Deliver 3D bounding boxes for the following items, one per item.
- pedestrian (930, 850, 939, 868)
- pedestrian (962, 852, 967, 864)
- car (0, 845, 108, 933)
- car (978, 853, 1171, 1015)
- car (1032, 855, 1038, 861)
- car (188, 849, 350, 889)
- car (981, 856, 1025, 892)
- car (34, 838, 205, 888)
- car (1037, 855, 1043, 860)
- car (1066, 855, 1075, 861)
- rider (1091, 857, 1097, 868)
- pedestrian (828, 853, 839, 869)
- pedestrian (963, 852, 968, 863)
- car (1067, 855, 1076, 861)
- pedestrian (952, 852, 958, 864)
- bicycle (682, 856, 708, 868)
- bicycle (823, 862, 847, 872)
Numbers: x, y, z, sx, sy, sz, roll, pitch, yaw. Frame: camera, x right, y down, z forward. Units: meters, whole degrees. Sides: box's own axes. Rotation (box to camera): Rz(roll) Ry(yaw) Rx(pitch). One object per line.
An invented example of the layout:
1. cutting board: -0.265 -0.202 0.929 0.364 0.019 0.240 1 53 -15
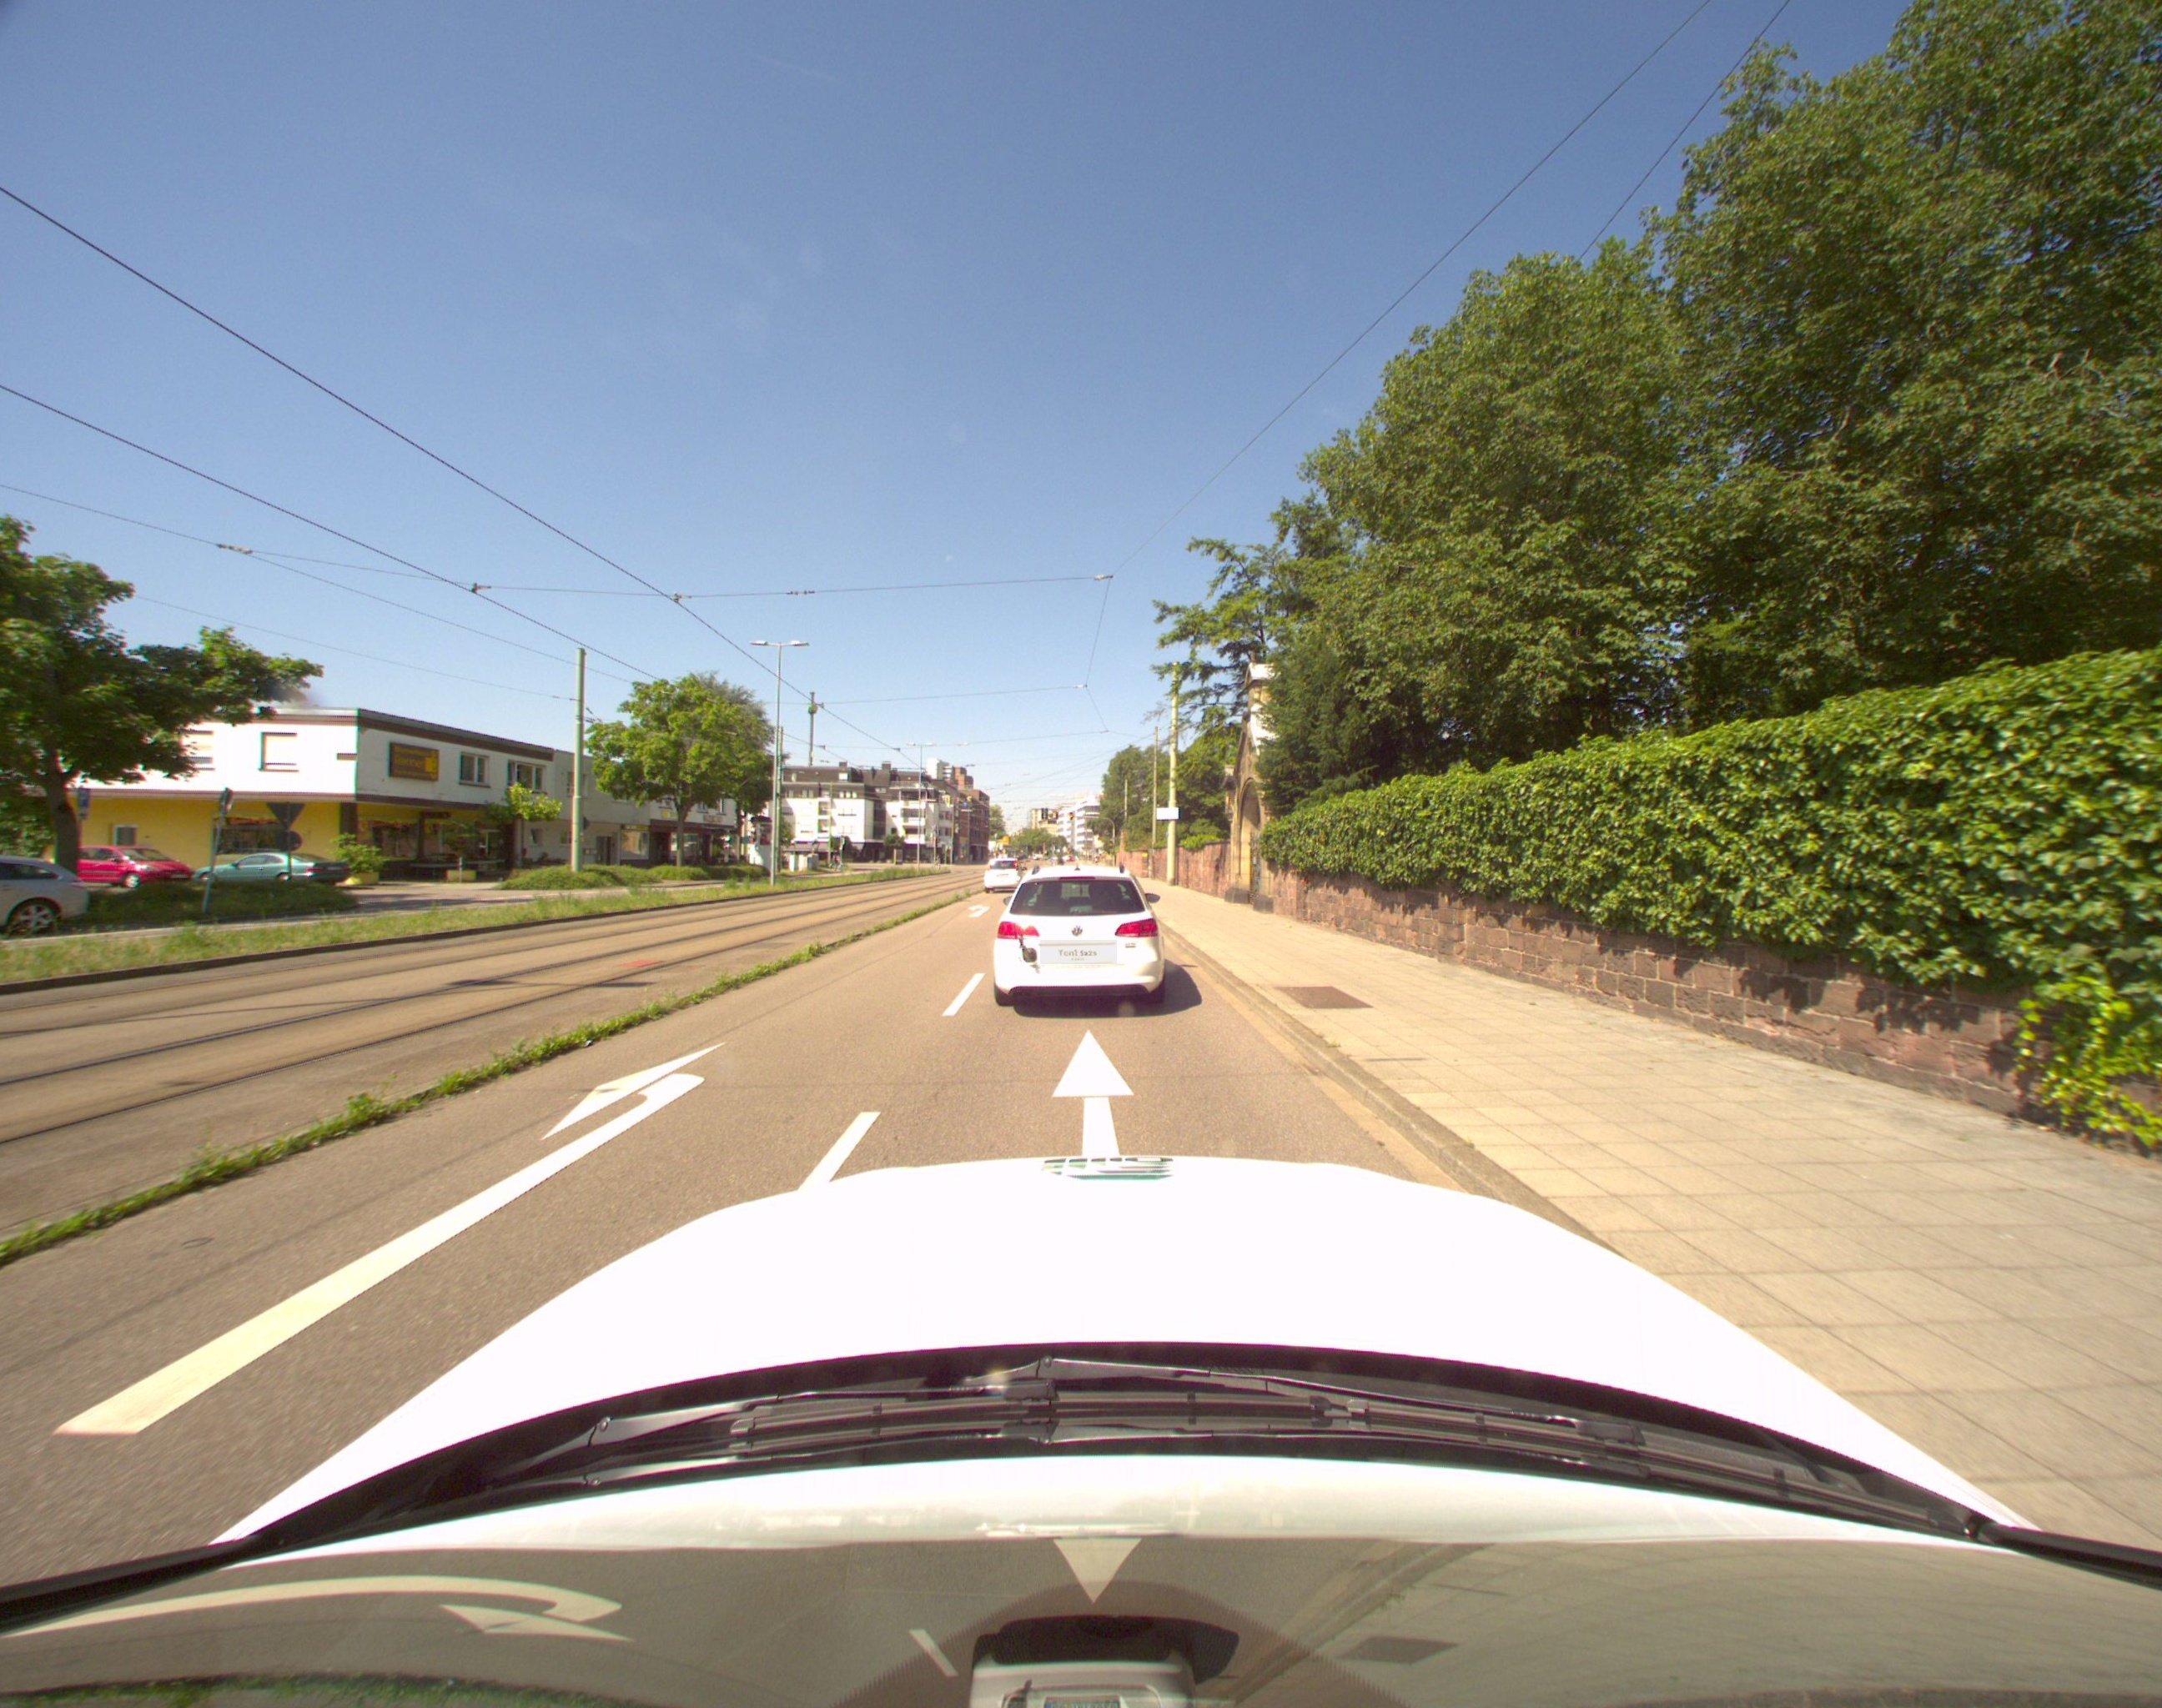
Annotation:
1. pedestrian: -14.285 0.491 79.640 0.826 1.739 0.929 0 -1 -9
2. pedestrian: -21.150 0.711 147.655 0.935 2.014 0.988 0 0 -6
3. car: -19.826 0.607 13.554 1.598 1.490 4.618 2 0 1
4. car: -0.053 0.741 9.445 1.773 1.490 3.846 0 0 0
5. car: -14.524 1.269 257.516 1.699 1.591 3.521 0 0 -11
6. car: -29.647 0.536 29.821 4.134 1.344 1.697 1 0 0
7. car: -3.558 0.875 37.850 1.725 1.596 4.008 0 0 -1
8. car: -35.130 0.319 29.835 4.134 1.735 1.697 1 0 0
9. car: -11.580 0.974 230.381 1.694 1.591 3.532 0 0 -2
10. car: -3.257 1.201 257.352 1.997 2.014 3.980 0 0 -14
11. rider: 2.061 1.293 131.015 0.888 1.728 2.203 0 0 0
12. pedestrian: -23.667 0.659 77.784 0.559 1.487 0.821 0 -1 43
13. pedestrian: -21.883 0.718 154.152 0.935 2.014 0.988 0 0 -6
14. car: -2.754 1.134 237.243 1.994 1.904 3.986 0 0 -10
15. pedestrian: -22.011 0.693 142.470 0.935 2.014 0.989 0 0 -4
16. bicycle: -28.274 0.566 59.707 0.780 0.888 2.390 0 0 0
17. bicycle: -23.323 1.210 77.323 0.546 0.921 2.190 0 0 43
